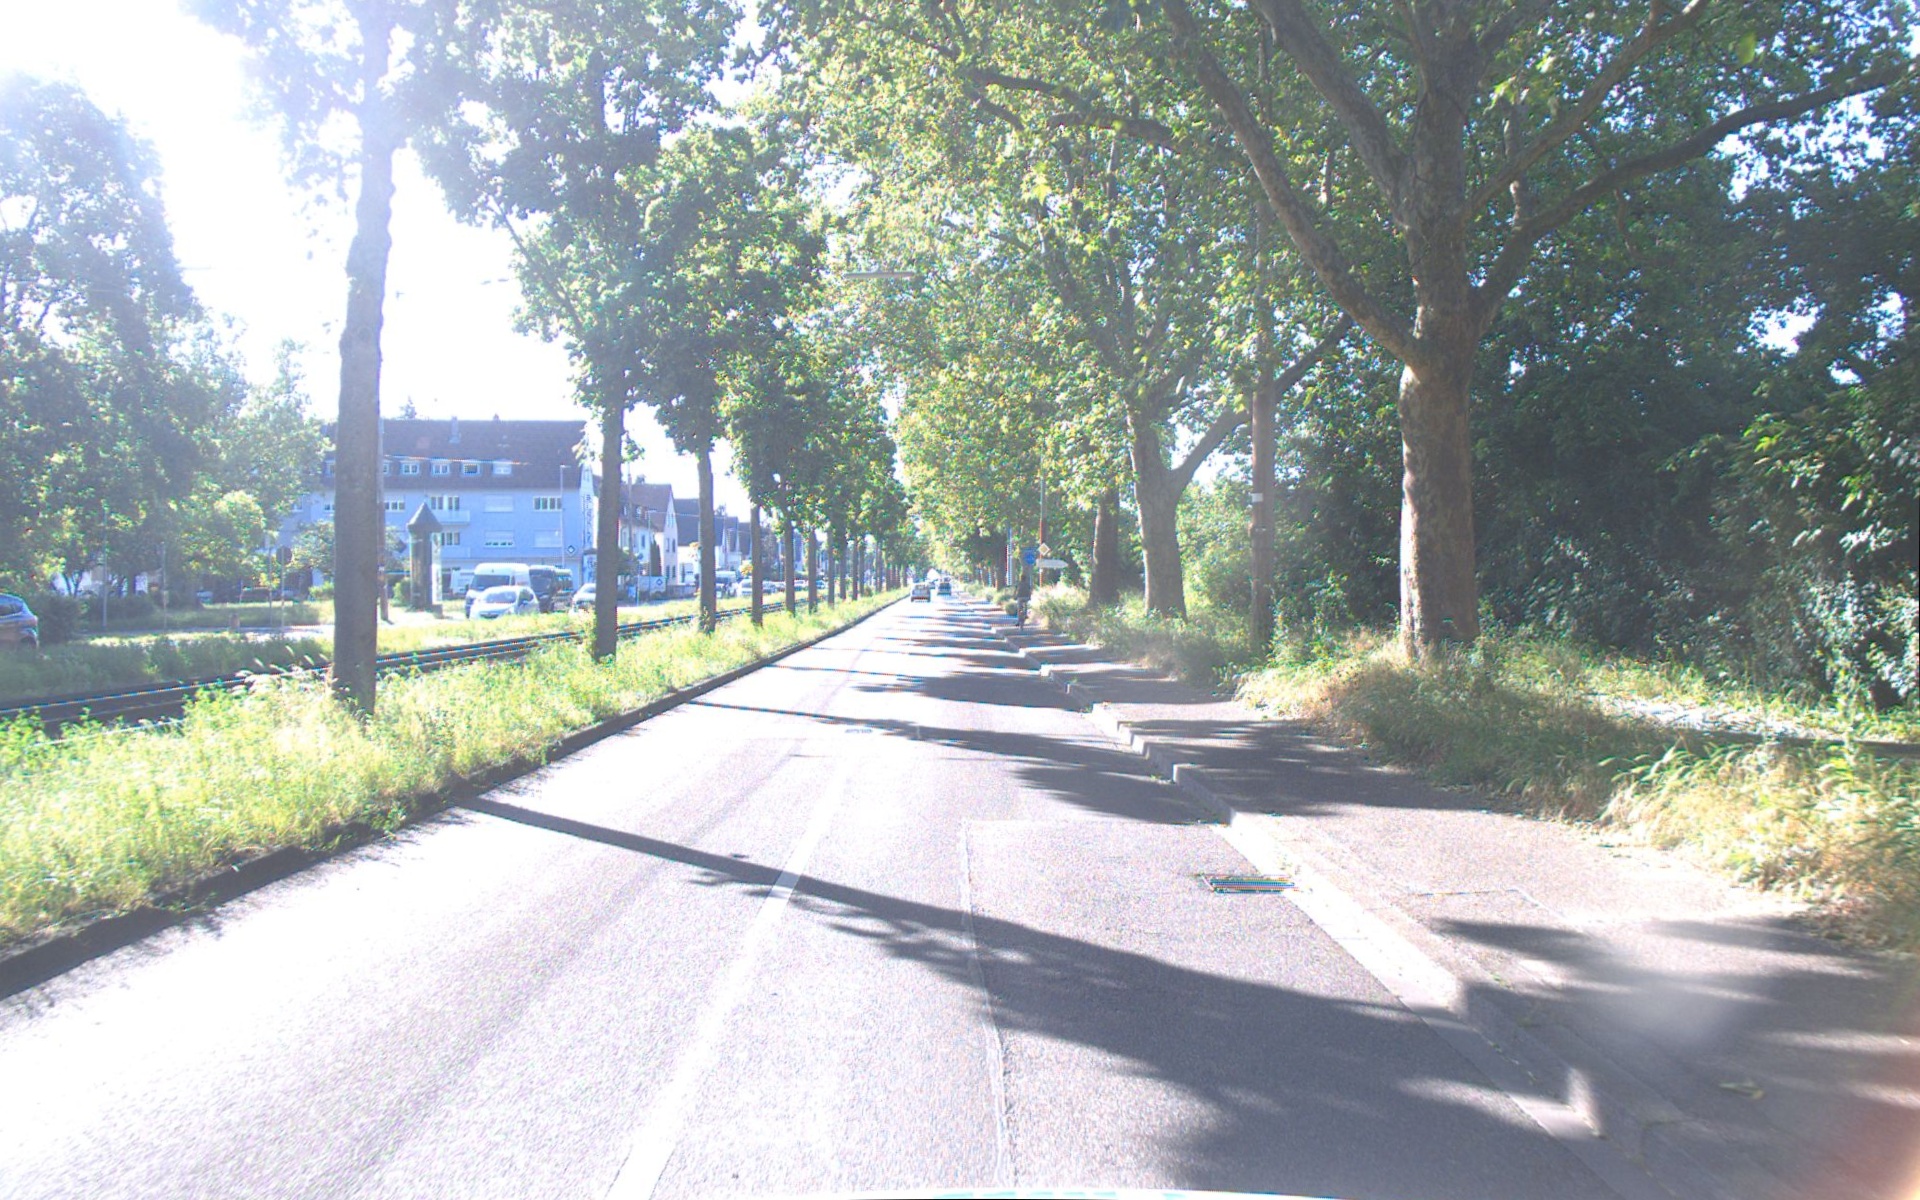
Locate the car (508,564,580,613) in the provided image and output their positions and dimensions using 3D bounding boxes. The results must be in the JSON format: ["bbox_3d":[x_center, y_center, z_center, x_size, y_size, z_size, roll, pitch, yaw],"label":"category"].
[{"bbox_3d":[-21.485,-0.561,85.730,2.138,2.418,6.464,1,0,-1],"label":"car"}]

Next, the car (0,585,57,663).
[{"bbox_3d":[-20.691,0.476,34.197,1.640,1.612,4.248,1,0,1],"label":"car"}]

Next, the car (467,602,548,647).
[{"bbox_3d":[-16.451,0.855,60.315,1.691,1.555,4.442,1,0,0],"label":"car"}]

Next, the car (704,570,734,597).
[{"bbox_3d":[-22.896,-1.510,157.332,1.953,2.502,6.673,1,0,-1],"label":"car"}]

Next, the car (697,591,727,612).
[{"bbox_3d":[-17.215,0.103,114.841,1.525,1.419,3.819,1,0,-1],"label":"car"}]

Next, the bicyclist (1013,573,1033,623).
[{"bbox_3d":[2.108,-0.064,55.086,0.601,1.657,0.909,-1,0,-1],"label":"bicyclist"}]

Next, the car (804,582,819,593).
[{"bbox_3d":[-19.217,-1.638,214.520,1.642,1.434,4.000,-1,1,-1],"label":"car"}]

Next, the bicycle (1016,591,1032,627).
[{"bbox_3d":[2.116,0.290,55.047,0.431,1.173,1.823,-1,1,-1],"label":"bicycle"}]

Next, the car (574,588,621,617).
[{"bbox_3d":[-21.584,0.136,98.608,1.785,1.635,4.773,1,0,0],"label":"car"}]

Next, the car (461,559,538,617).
[{"bbox_3d":[-21.460,-0.540,77.343,1.961,2.540,6.136,1,0,-1],"label":"car"}]

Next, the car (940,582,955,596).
[{"bbox_3d":[-1.424,-1.274,187.923,1.725,1.539,3.276,1,0,0],"label":"car"}]

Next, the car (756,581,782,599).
[{"bbox_3d":[-17.627,-0.937,152.626,1.952,1.558,3.751,-1,1,0],"label":"car"}]

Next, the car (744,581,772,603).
[{"bbox_3d":[-16.809,-0.678,137.696,1.774,1.775,4.981,1,0,-1],"label":"car"}]

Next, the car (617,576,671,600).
[{"bbox_3d":[-27.385,-1.048,143.214,4.535,1.979,1.995,0,0,-12],"label":"car"}]

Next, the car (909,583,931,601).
[{"bbox_3d":[-3.196,-0.626,132.793,1.703,1.425,3.276,1,0,-1],"label":"car"}]
